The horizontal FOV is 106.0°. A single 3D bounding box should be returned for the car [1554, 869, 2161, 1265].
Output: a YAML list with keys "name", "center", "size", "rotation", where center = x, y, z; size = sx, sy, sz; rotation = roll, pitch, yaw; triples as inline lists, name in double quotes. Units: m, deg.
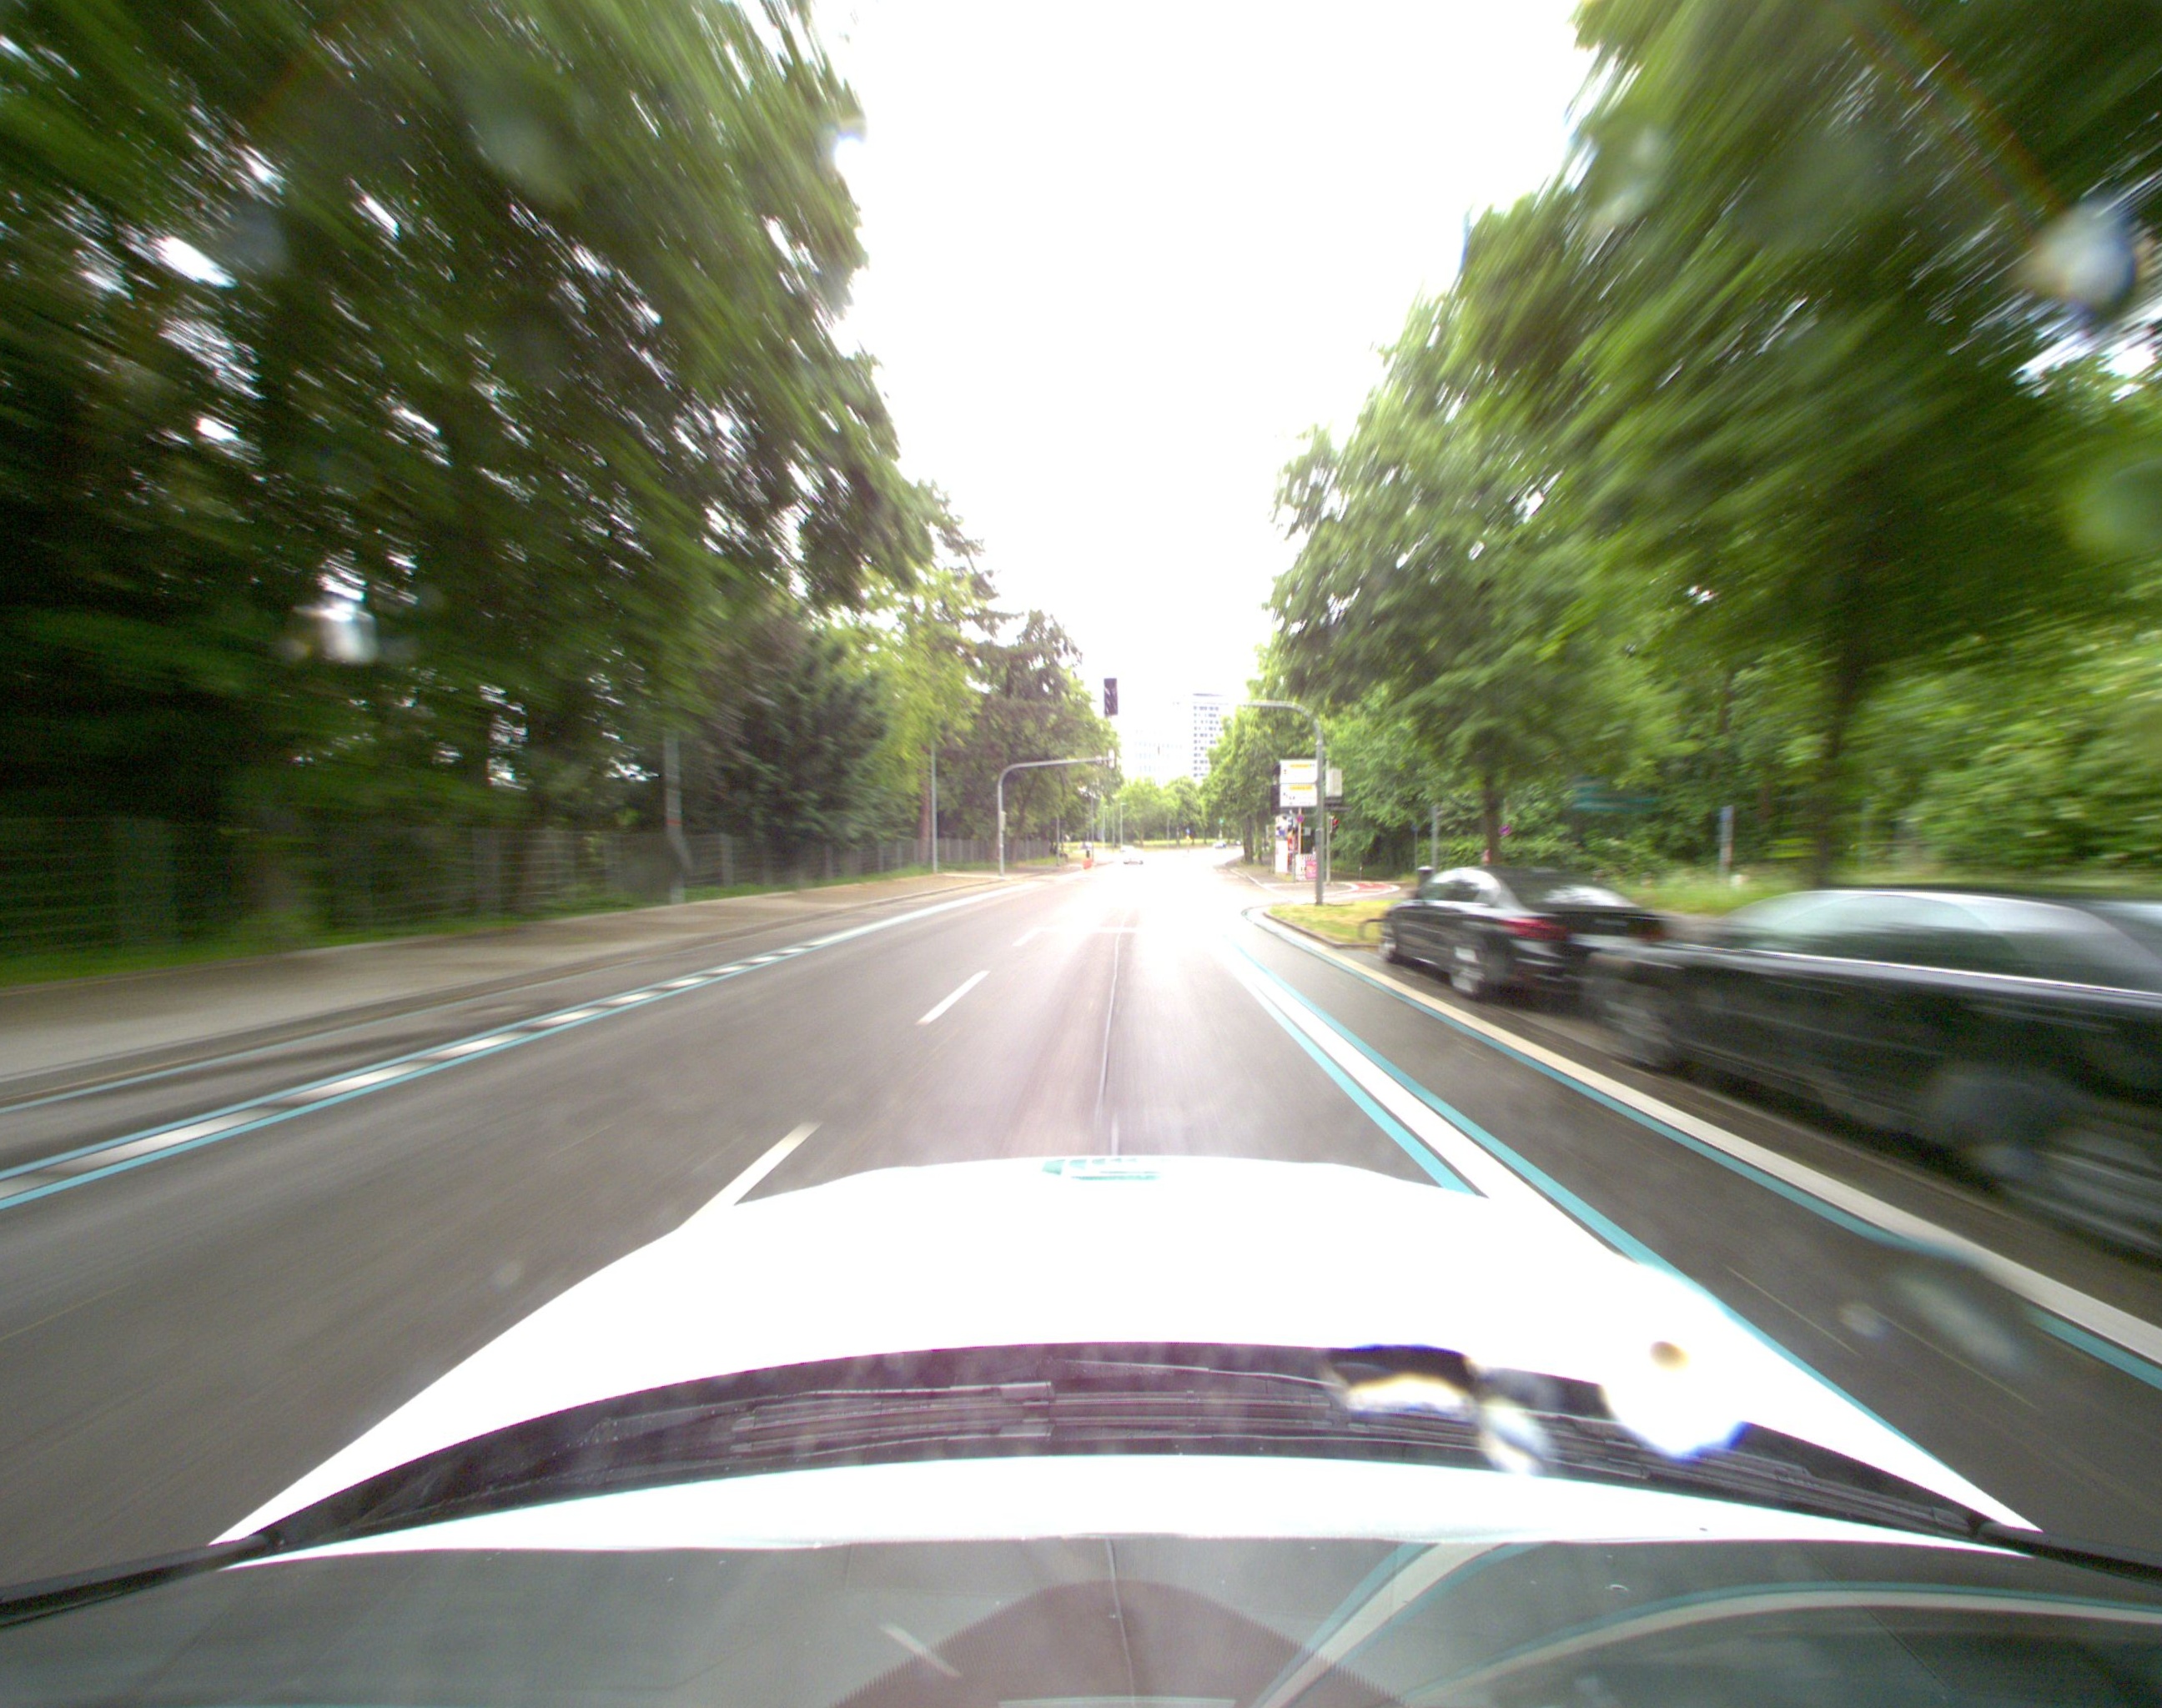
- name: "car"
  center: [4.887, 0.853, 4.585]
  size: [1.693, 1.420, 4.763]
  rotation: [2, 0, 0]

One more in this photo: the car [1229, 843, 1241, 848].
- name: "car"
  center: [36.682, -1.988, 193.996]
  size: [1.792, 1.286, 3.762]
  rotation: [1, 0, 25]

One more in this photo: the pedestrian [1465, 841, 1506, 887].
- name: "pedestrian"
  center: [15.565, 0.370, 31.358]
  size: [0.894, 1.733, 1.132]
  rotation: [1, 0, -41]

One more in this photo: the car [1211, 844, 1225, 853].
- name: "car"
  center: [28.496, -1.142, 169.666]
  size: [1.976, 1.685, 4.022]
  rotation: [1, 0, 23]

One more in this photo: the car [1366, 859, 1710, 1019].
- name: "car"
  center: [5.137, 0.805, 10.069]
  size: [1.750, 1.440, 4.861]
  rotation: [1, 0, 3]

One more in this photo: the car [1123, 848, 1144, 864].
- name: "car"
  center: [5.365, 0.158, 82.976]
  size: [1.833, 1.457, 4.510]
  rotation: [1, 1, 8]
